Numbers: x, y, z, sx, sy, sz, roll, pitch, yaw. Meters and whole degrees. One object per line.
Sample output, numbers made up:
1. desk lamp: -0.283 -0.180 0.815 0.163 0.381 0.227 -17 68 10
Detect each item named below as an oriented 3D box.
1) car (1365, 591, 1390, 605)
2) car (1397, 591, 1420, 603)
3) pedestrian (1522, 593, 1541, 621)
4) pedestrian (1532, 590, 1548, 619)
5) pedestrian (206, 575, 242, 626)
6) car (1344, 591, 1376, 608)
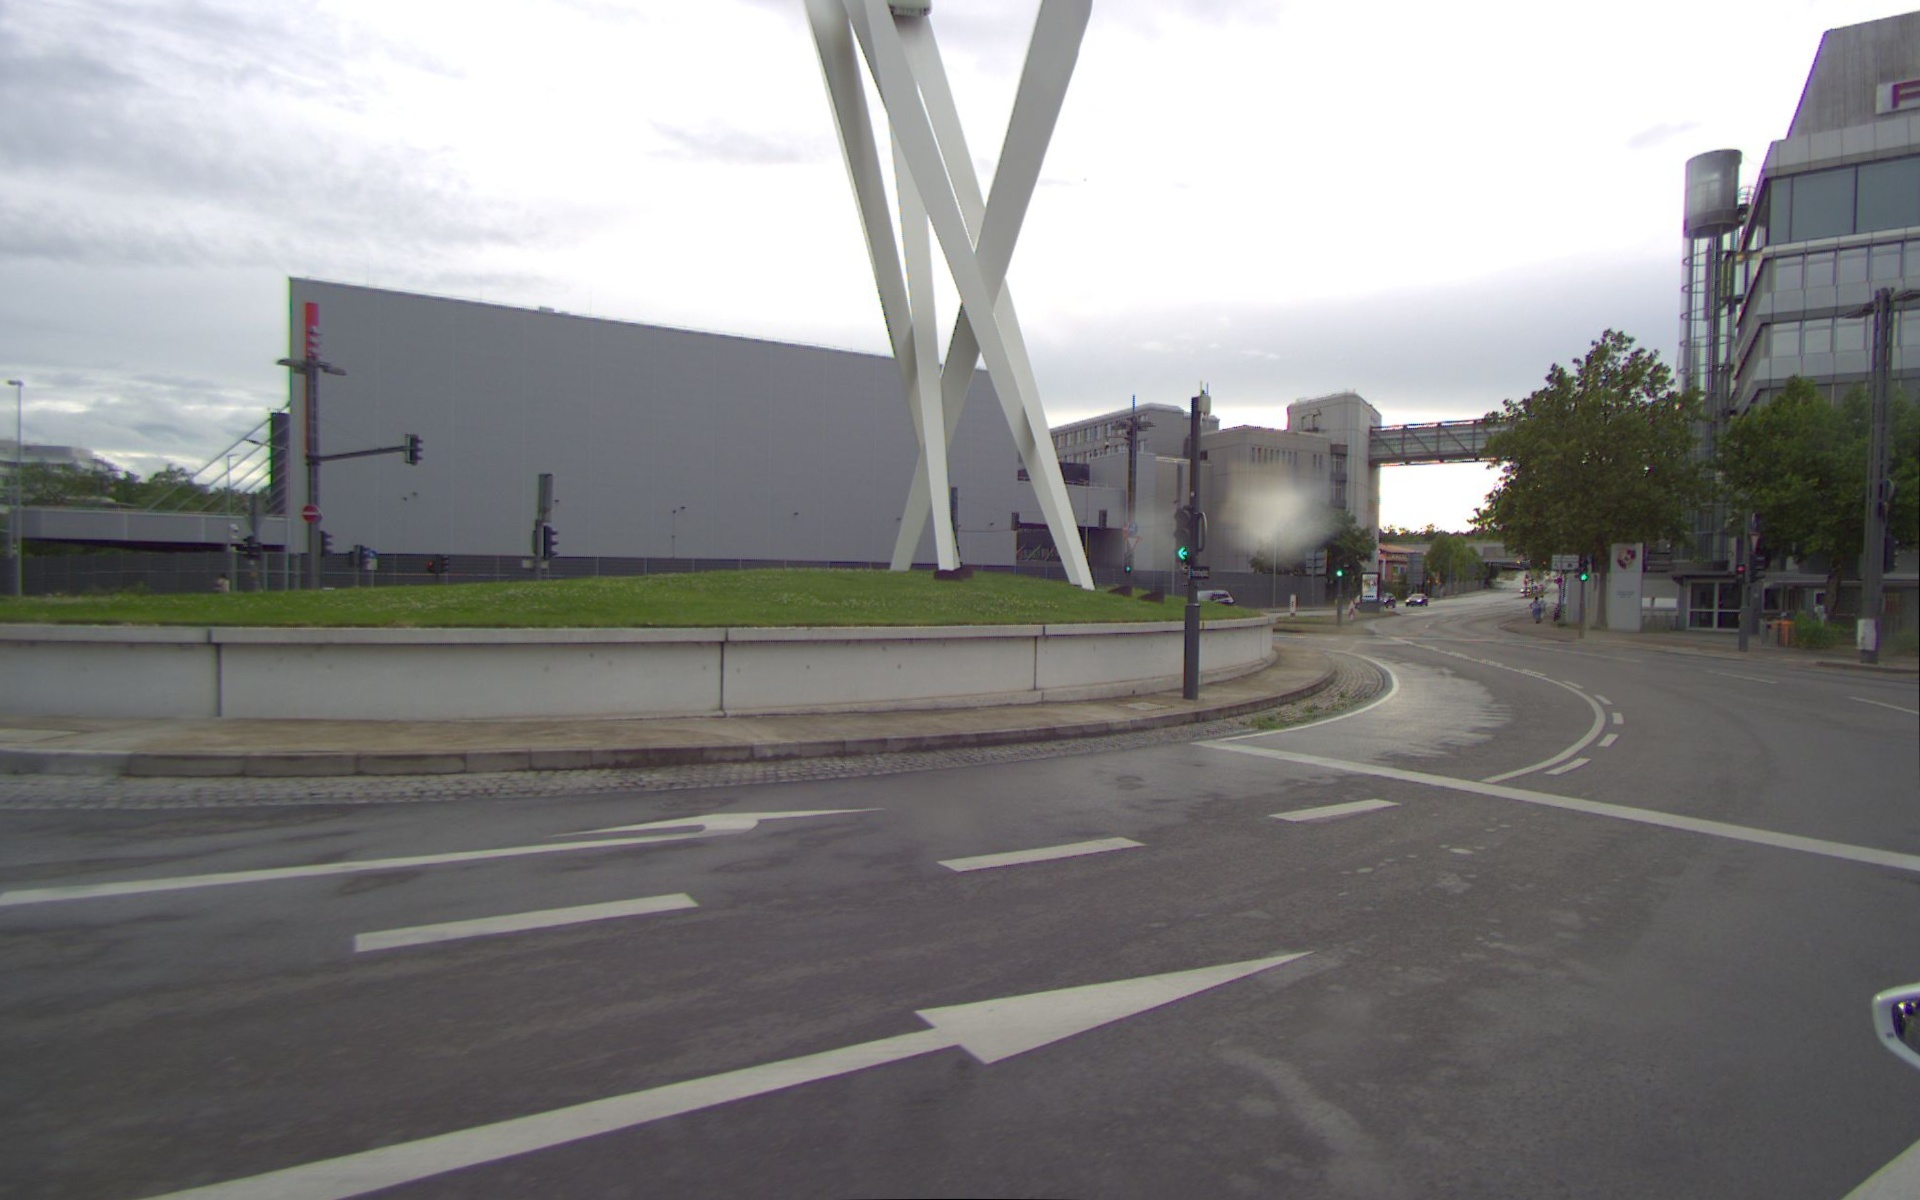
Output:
1. car: 45.248 -0.224 108.719 1.758 1.474 4.549 0 0 32
2. car: 53.346 -0.329 119.475 1.758 1.403 4.533 -1 0 33
3. pedestrian: 32.124 0.369 56.453 0.821 1.541 0.838 2 1 38
4. pedestrian: 33.437 0.265 57.894 0.700 1.613 0.837 2 1 37
5. pedestrian: -27.016 0.019 36.882 0.636 1.827 0.854 2 1 21
6. car: 35.967 -0.047 90.269 1.759 1.459 4.381 2 1 35
